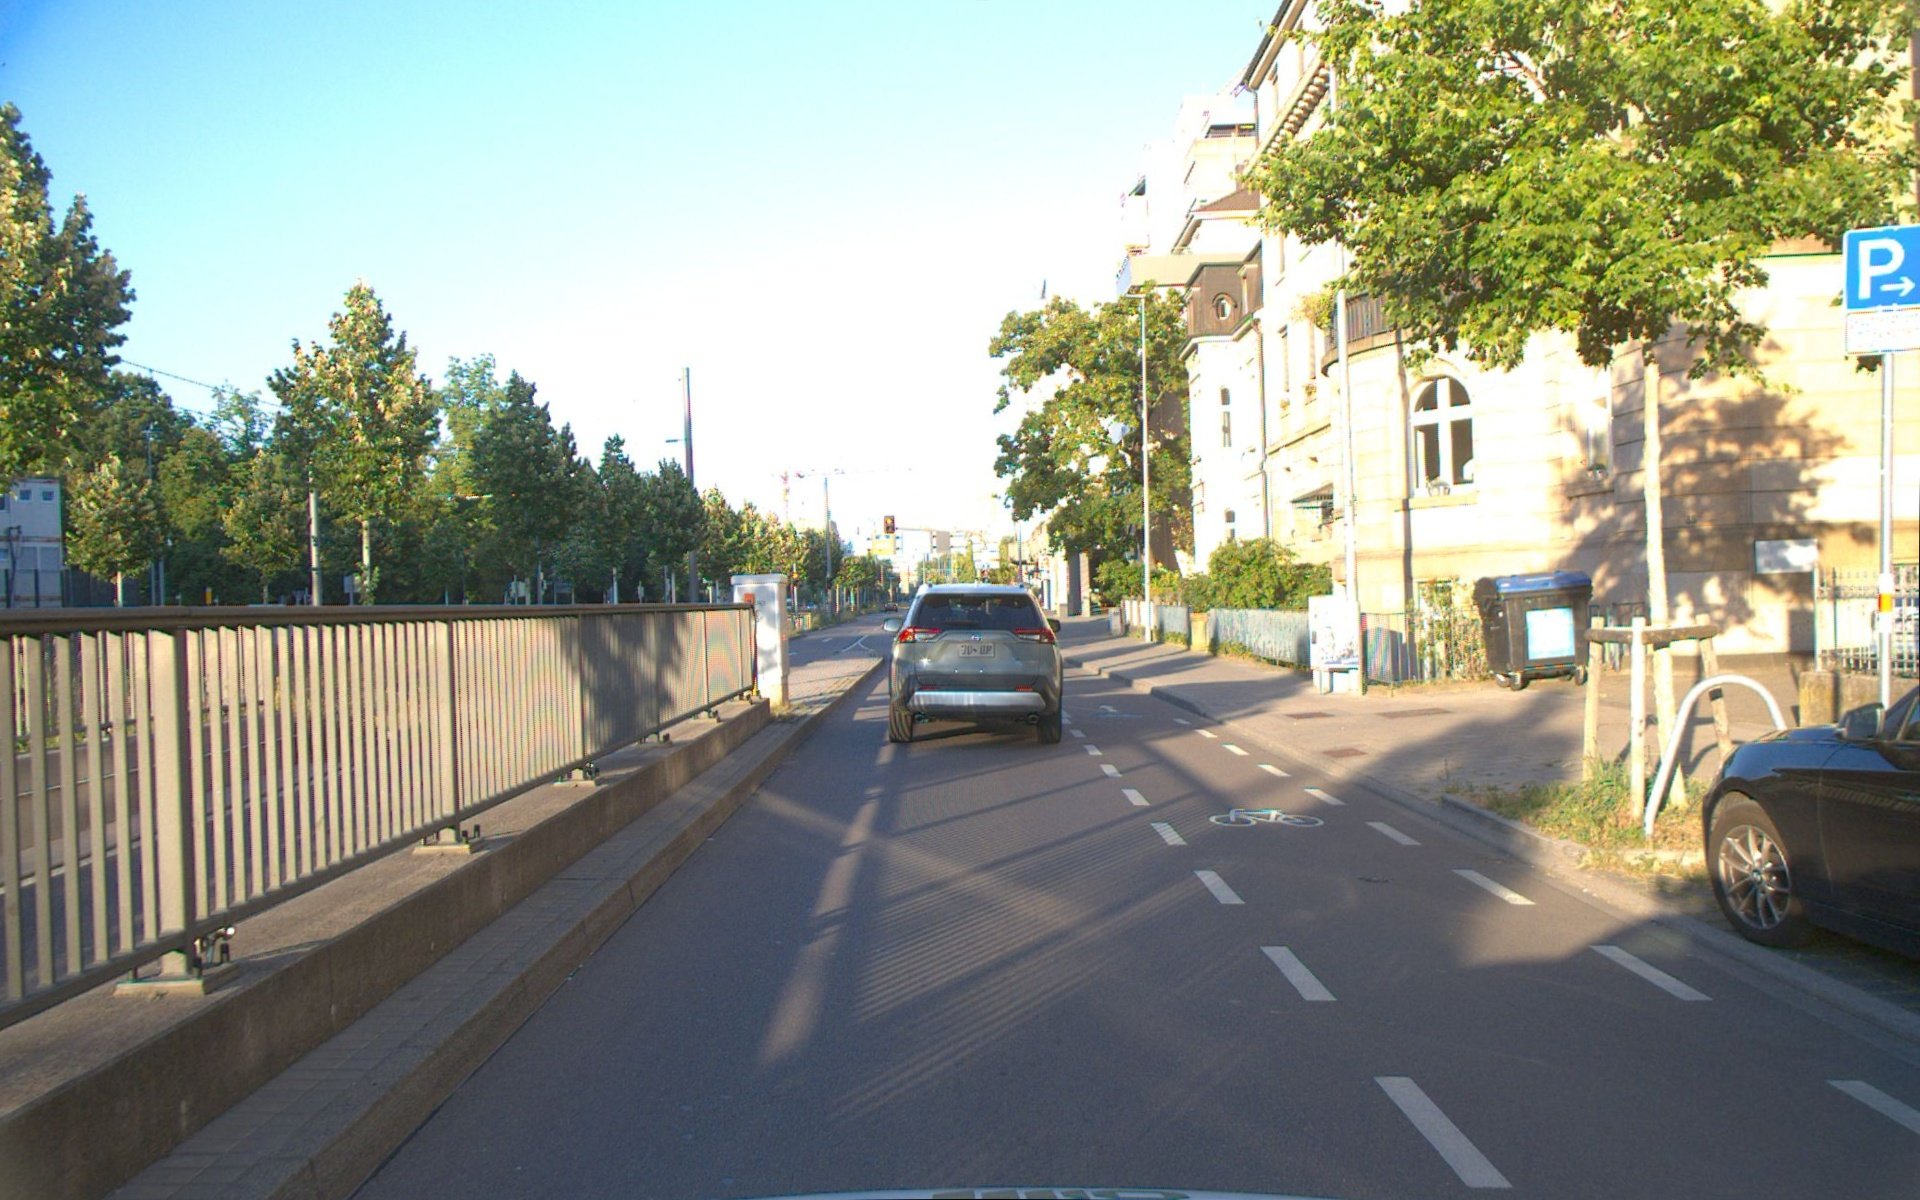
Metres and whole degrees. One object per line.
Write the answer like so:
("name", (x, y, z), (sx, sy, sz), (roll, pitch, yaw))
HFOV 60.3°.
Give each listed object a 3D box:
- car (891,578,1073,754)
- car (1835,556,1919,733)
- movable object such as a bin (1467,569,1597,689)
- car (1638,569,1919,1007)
("car", (0.142, 0.661, 18.575), (1.820, 1.744, 4.190), (0, 0, -2))
("car", (10.785, 0.300, 15.480), (4.108, 1.598, 1.917), (-3, 0, 2))
("movable object such as a bin", (7.443, 0.368, 21.567), (1.235, 1.487, 1.123), (-1, 0, -4))
("car", (4.287, 0.644, 5.740), (1.757, 1.496, 4.442), (-5, 0, -3))
